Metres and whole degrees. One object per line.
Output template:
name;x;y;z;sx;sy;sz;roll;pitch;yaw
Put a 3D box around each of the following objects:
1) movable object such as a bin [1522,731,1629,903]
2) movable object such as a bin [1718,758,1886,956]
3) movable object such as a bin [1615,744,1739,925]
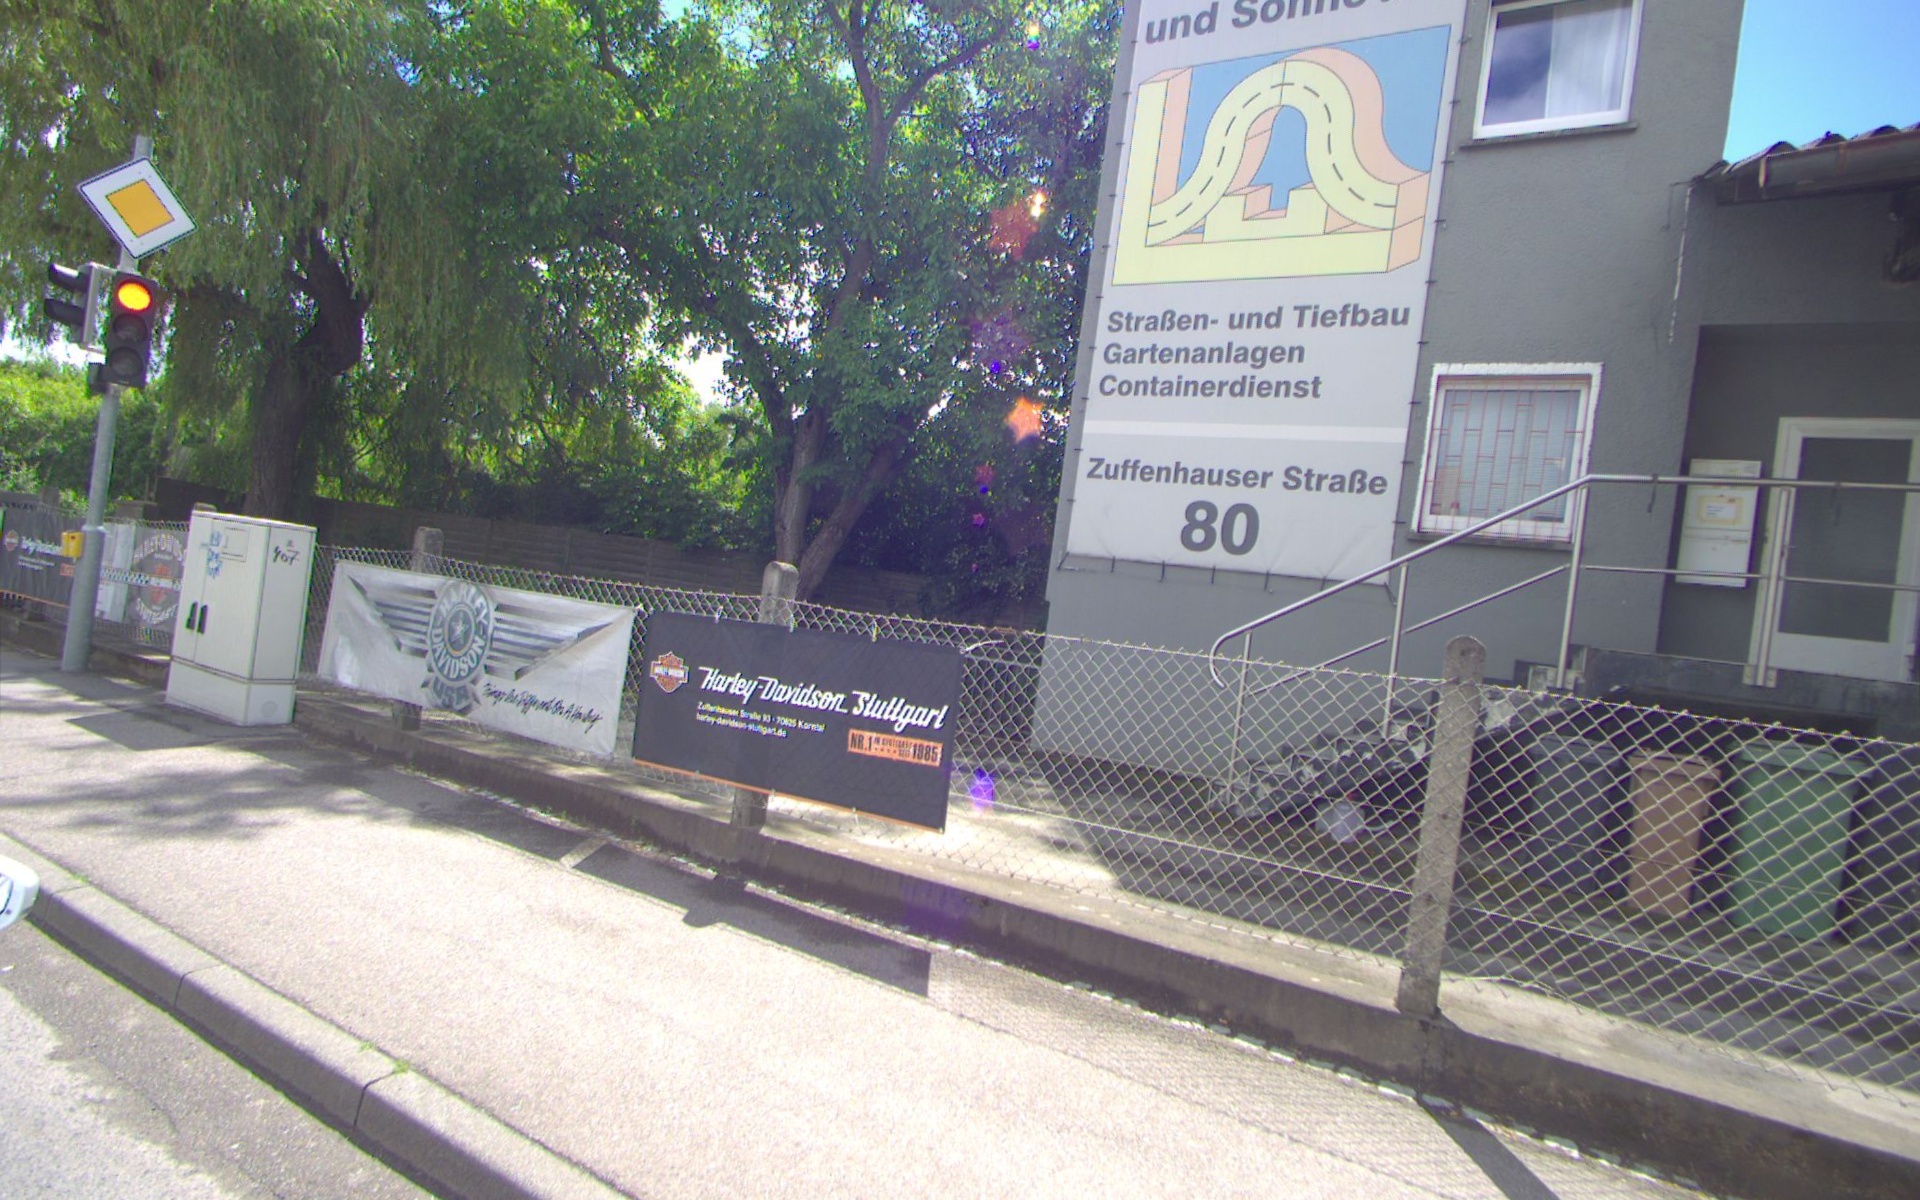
movable object such as a bin;3.828;1.325;6.284;0.466;0.941;0.482;7;-1;30
movable object such as a bin;4.769;1.428;5.730;0.574;0.941;0.482;6;-1;30
movable object such as a bin;4.273;1.374;6.021;0.466;0.941;0.482;7;-1;30
